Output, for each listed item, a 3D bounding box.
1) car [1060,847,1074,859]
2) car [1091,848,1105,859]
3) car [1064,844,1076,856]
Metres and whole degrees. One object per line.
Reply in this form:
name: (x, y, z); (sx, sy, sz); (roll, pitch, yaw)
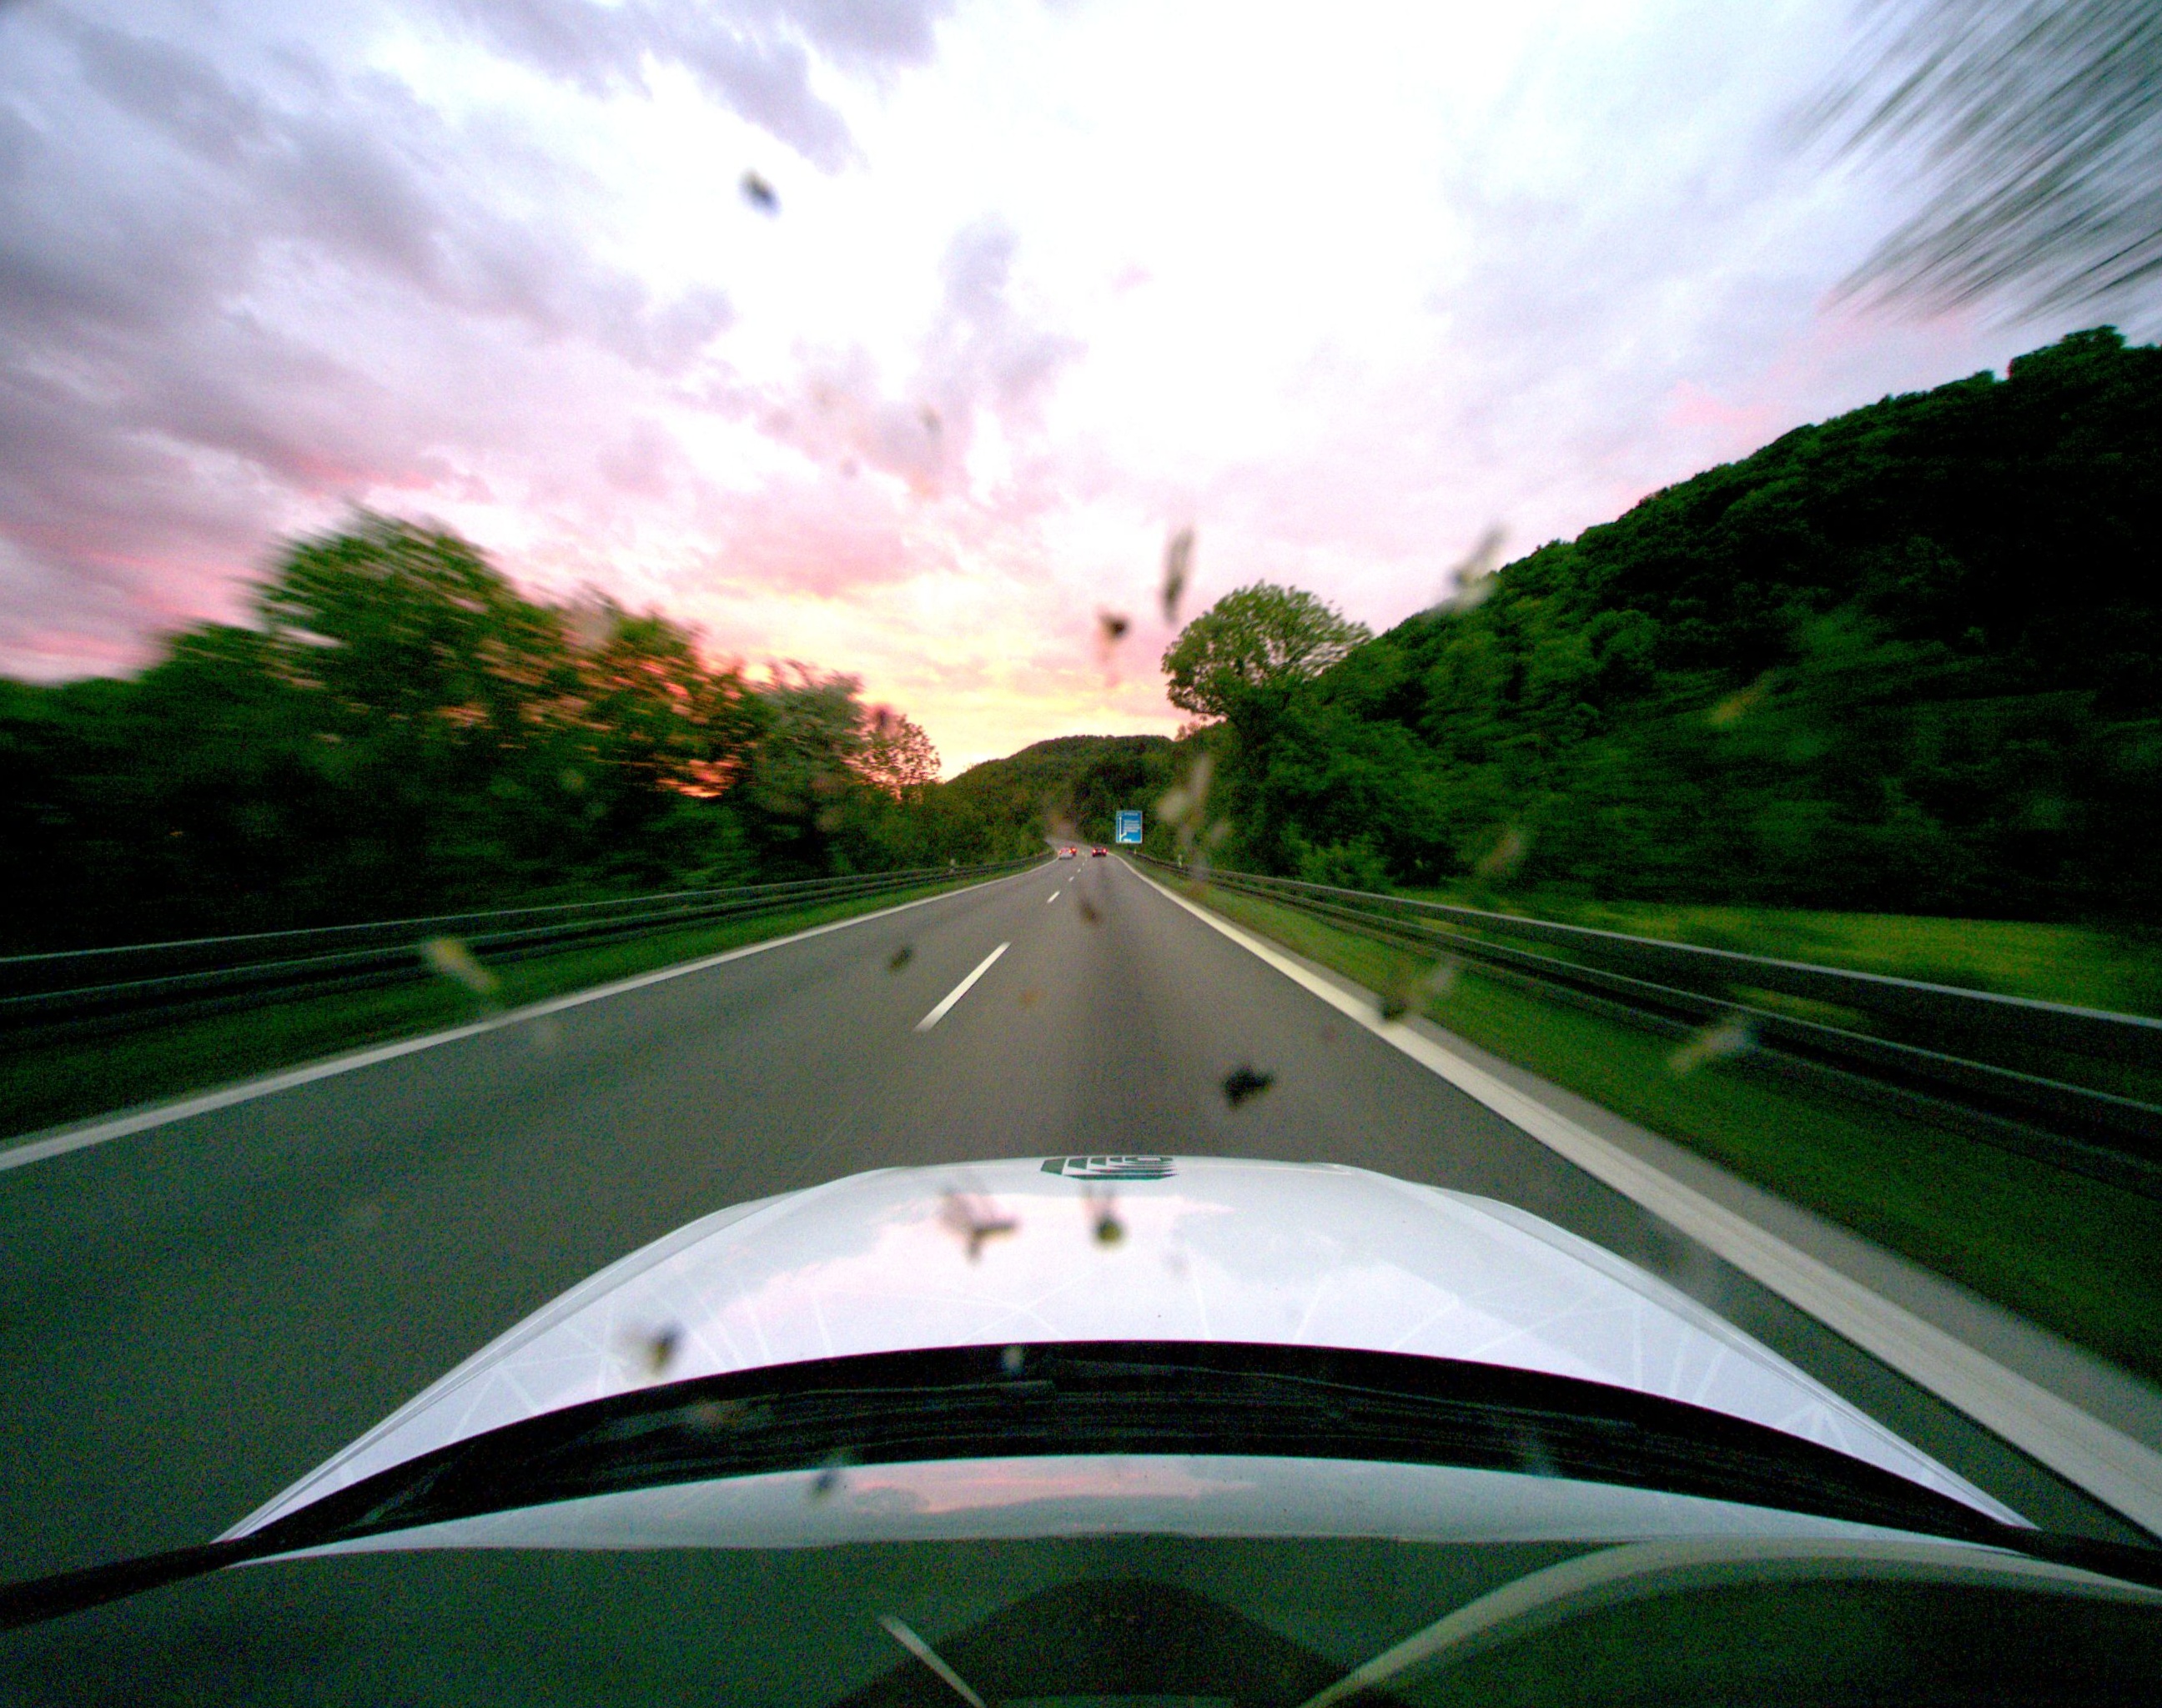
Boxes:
car: (-1.845, -0.136, 107.400); (1.712, 1.501, 4.001); (-1, 1, 1)
car: (2.308, -0.101, 112.054); (1.871, 1.466, 4.001); (-1, 1, 1)
car: (-1.607, -0.569, 120.283); (1.712, 1.635, 4.001); (-1, 1, 1)
